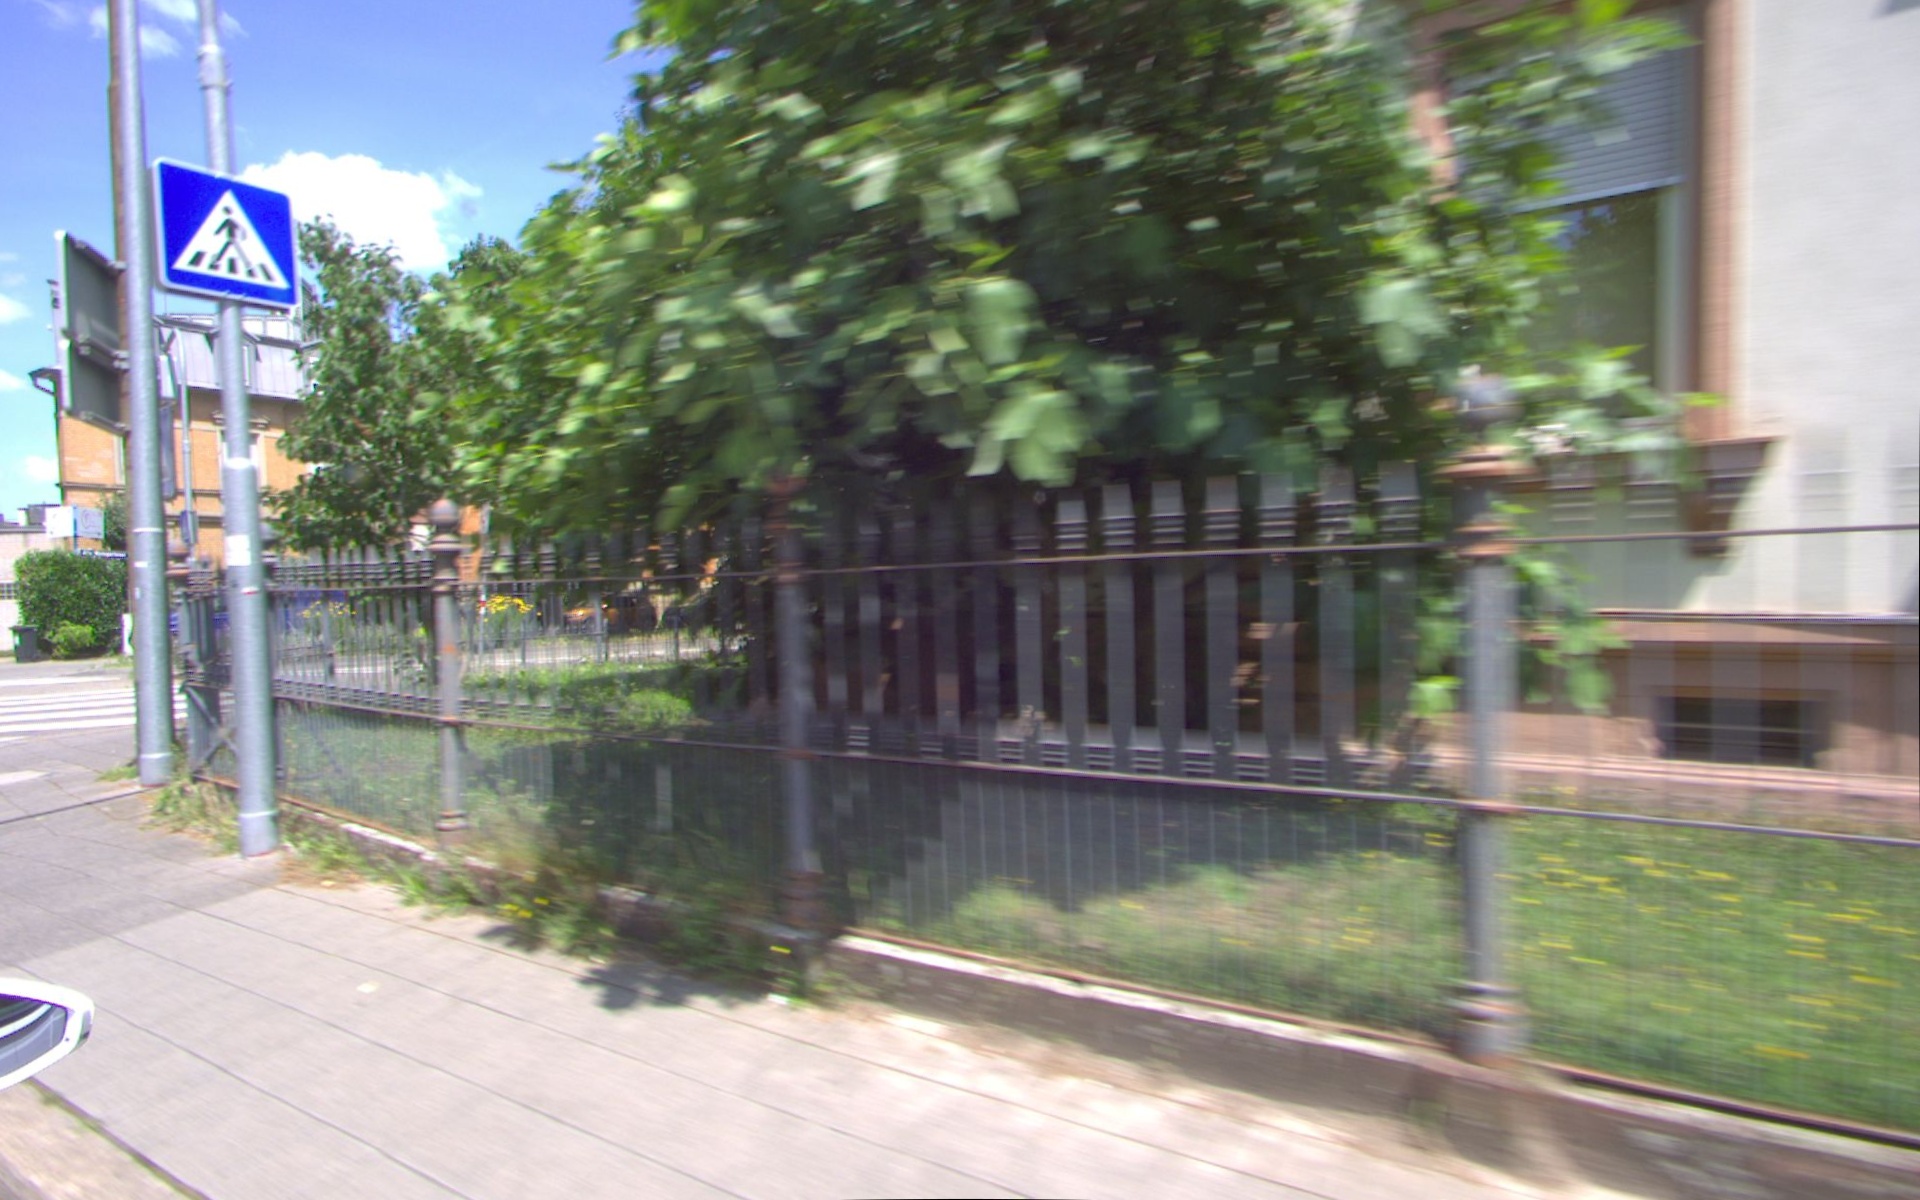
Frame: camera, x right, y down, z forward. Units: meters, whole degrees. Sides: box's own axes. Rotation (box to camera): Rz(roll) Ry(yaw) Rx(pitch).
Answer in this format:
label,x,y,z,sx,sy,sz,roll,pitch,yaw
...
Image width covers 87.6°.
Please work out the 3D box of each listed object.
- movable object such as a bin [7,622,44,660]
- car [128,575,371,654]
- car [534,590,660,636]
label,x,y,z,sx,sy,sz,roll,pitch,yaw
movable object such as a bin,-23.528,1.031,25.215,0.549,0.928,0.420,-1,-1,8
car,-19.825,0.318,28.161,2.059,1.974,5.197,1,2,41
car,-13.740,0.504,38.117,1.835,1.611,4.220,-2,-2,33
